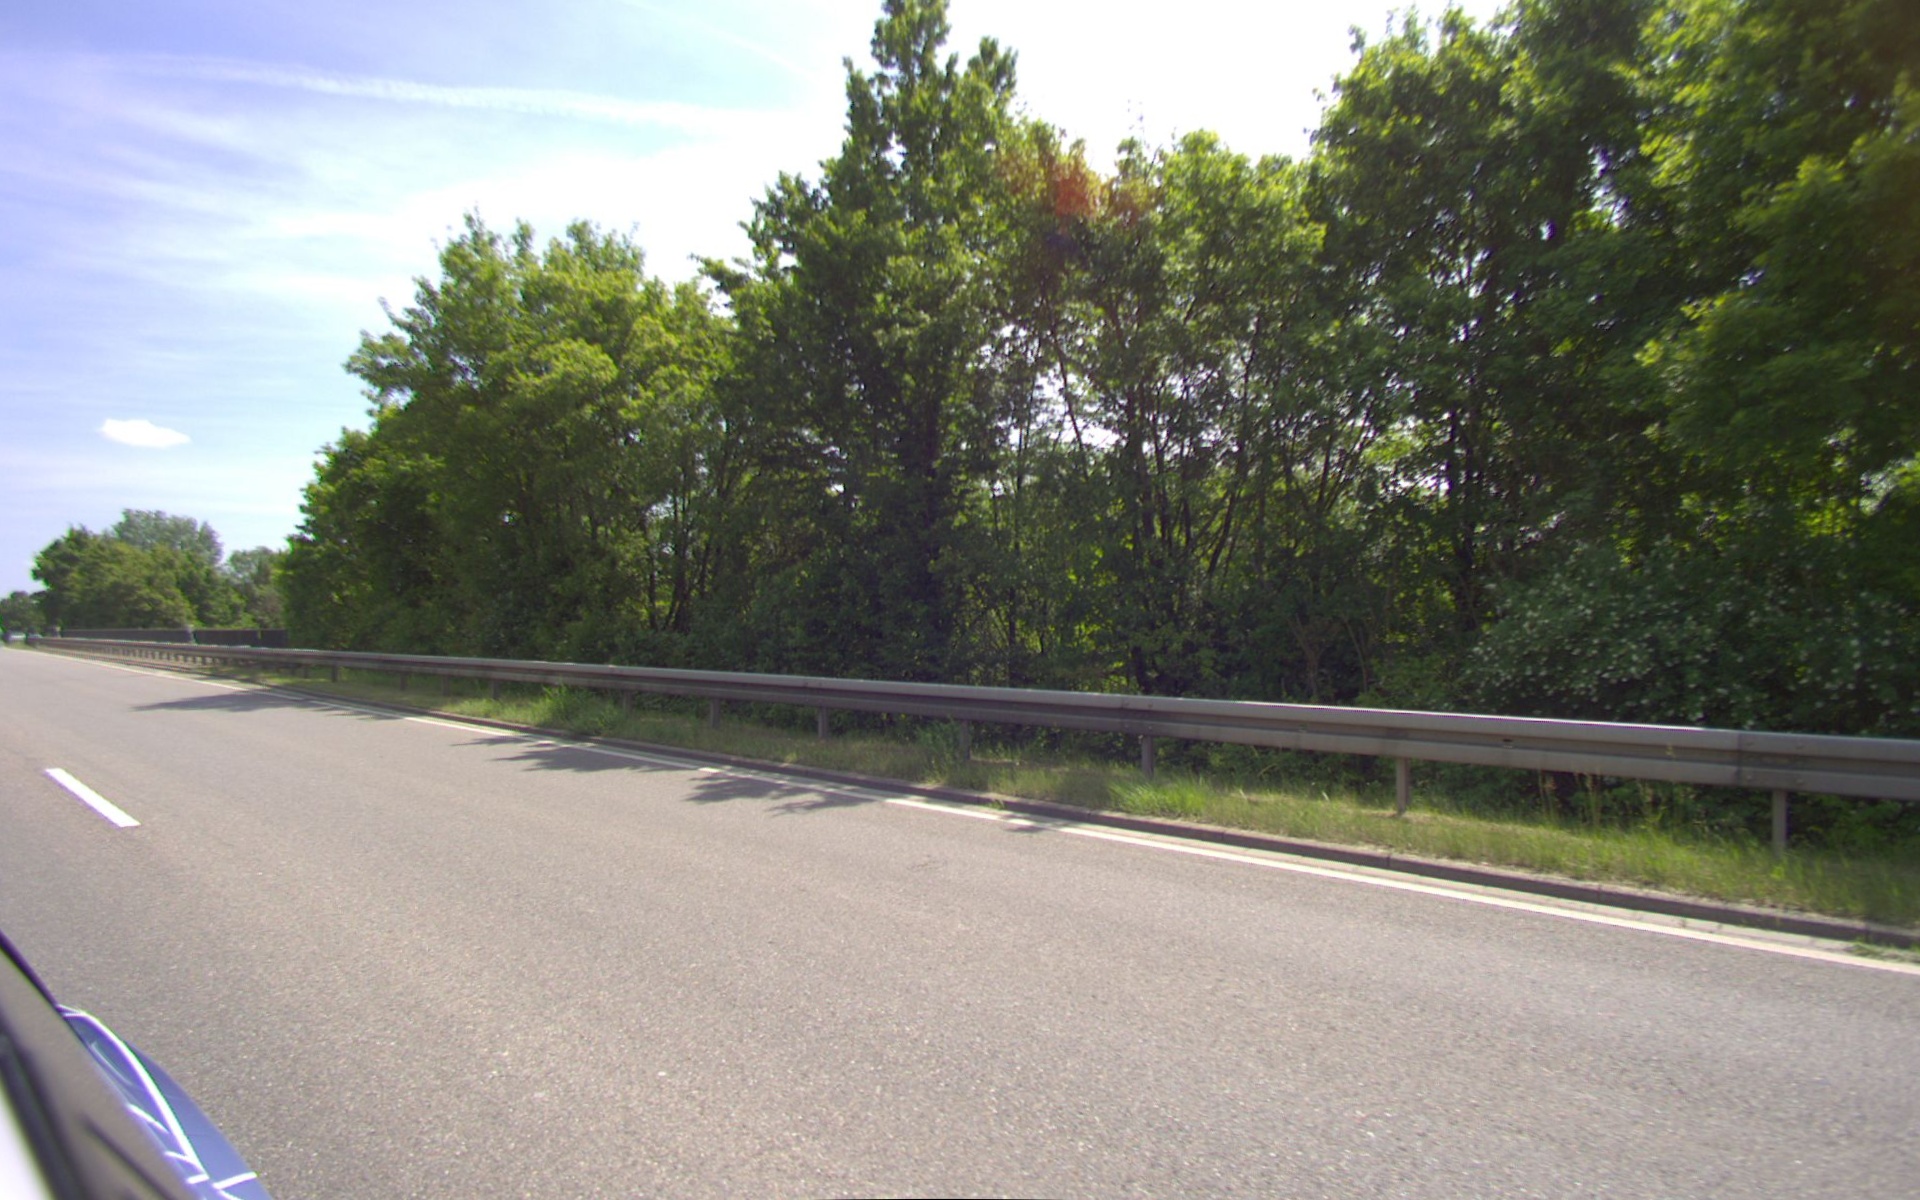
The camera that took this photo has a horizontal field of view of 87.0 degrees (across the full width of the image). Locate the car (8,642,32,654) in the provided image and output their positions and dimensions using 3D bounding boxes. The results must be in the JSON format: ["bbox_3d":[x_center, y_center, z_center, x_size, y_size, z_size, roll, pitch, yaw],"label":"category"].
[{"bbox_3d":[-131.620,6.675,141.792,1.854,1.523,4.554,0,-2,-35],"label":"car"}]
